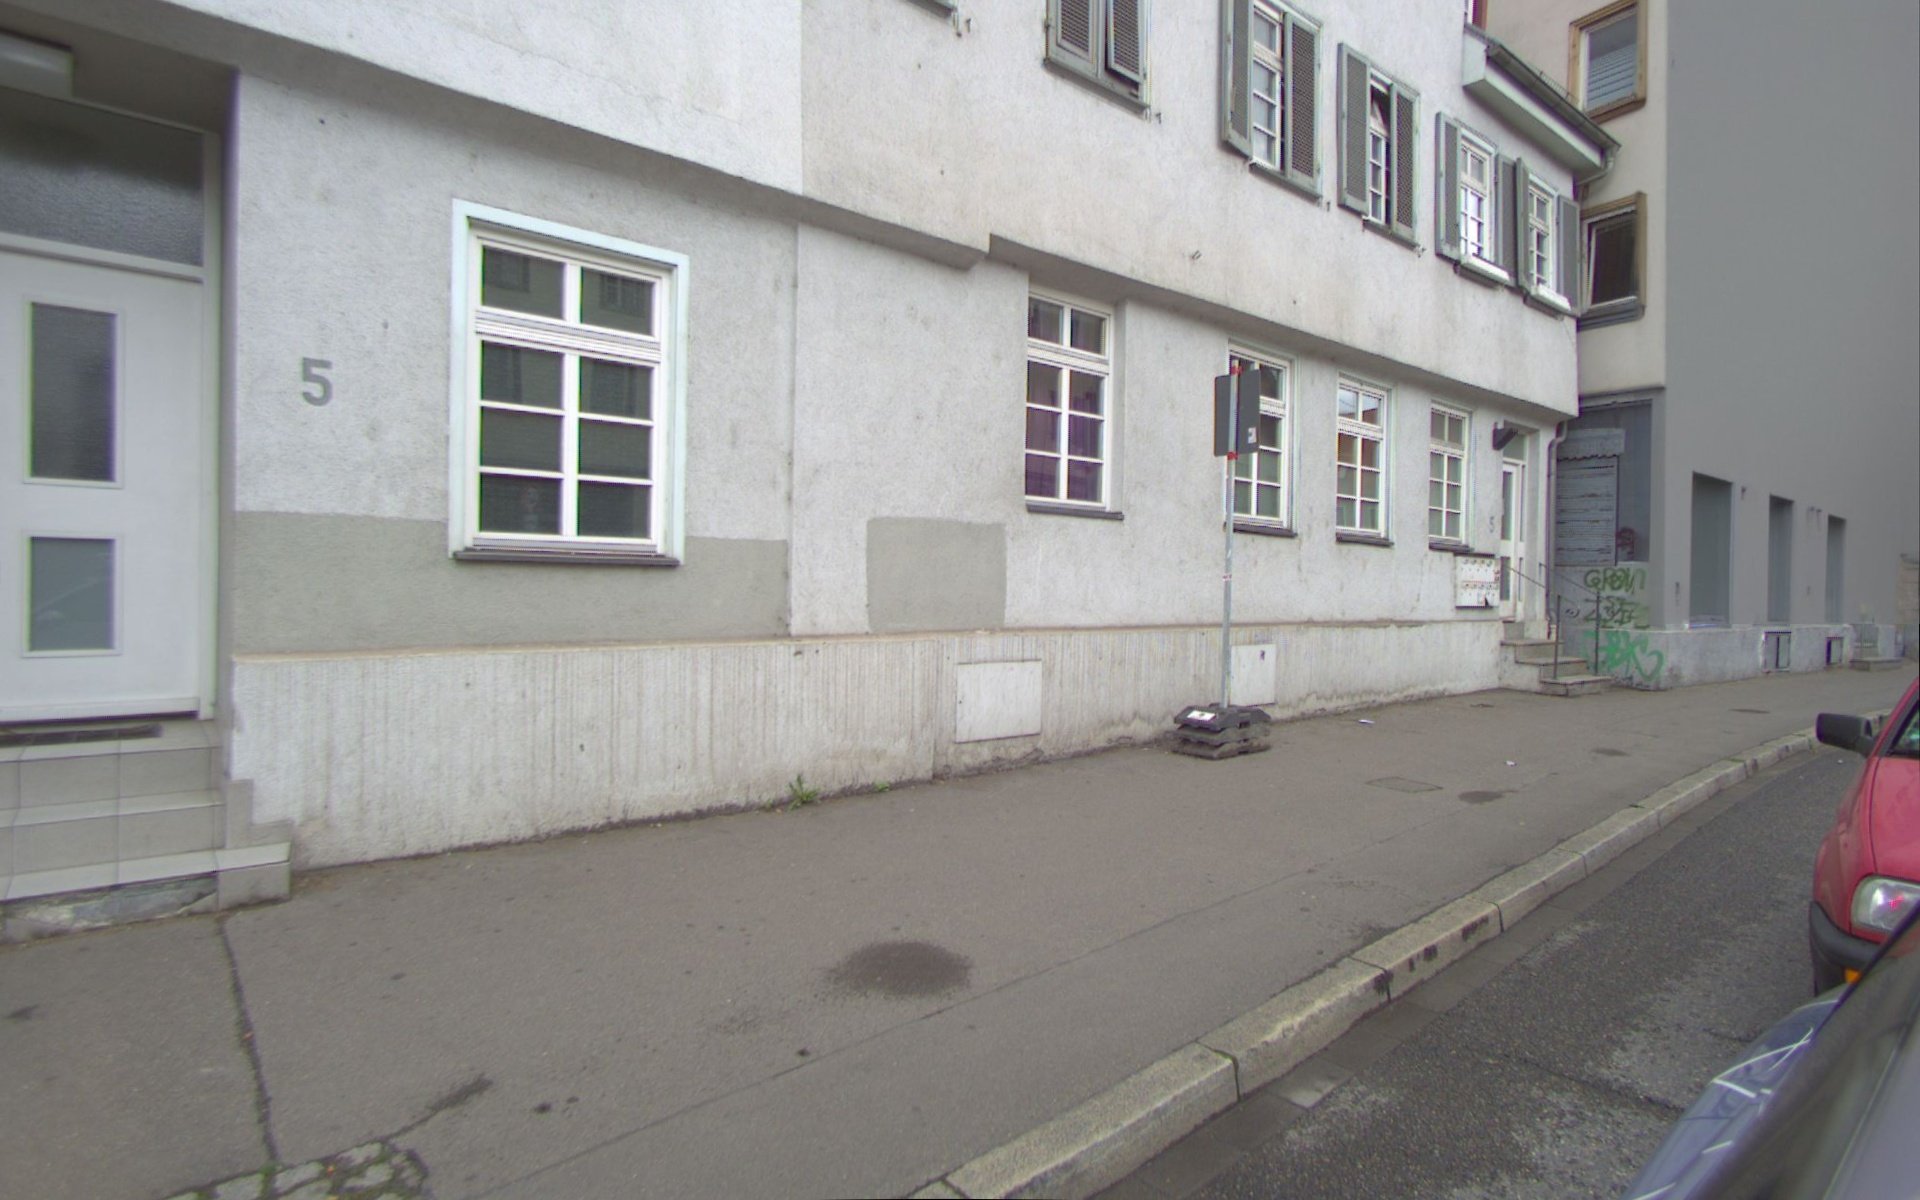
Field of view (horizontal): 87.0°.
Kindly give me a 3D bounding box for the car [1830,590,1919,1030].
[{"bbox_3d":[5.050,0.705,4.143,3.950,1.445,1.684,0,1,-41],"label":"car"}]
